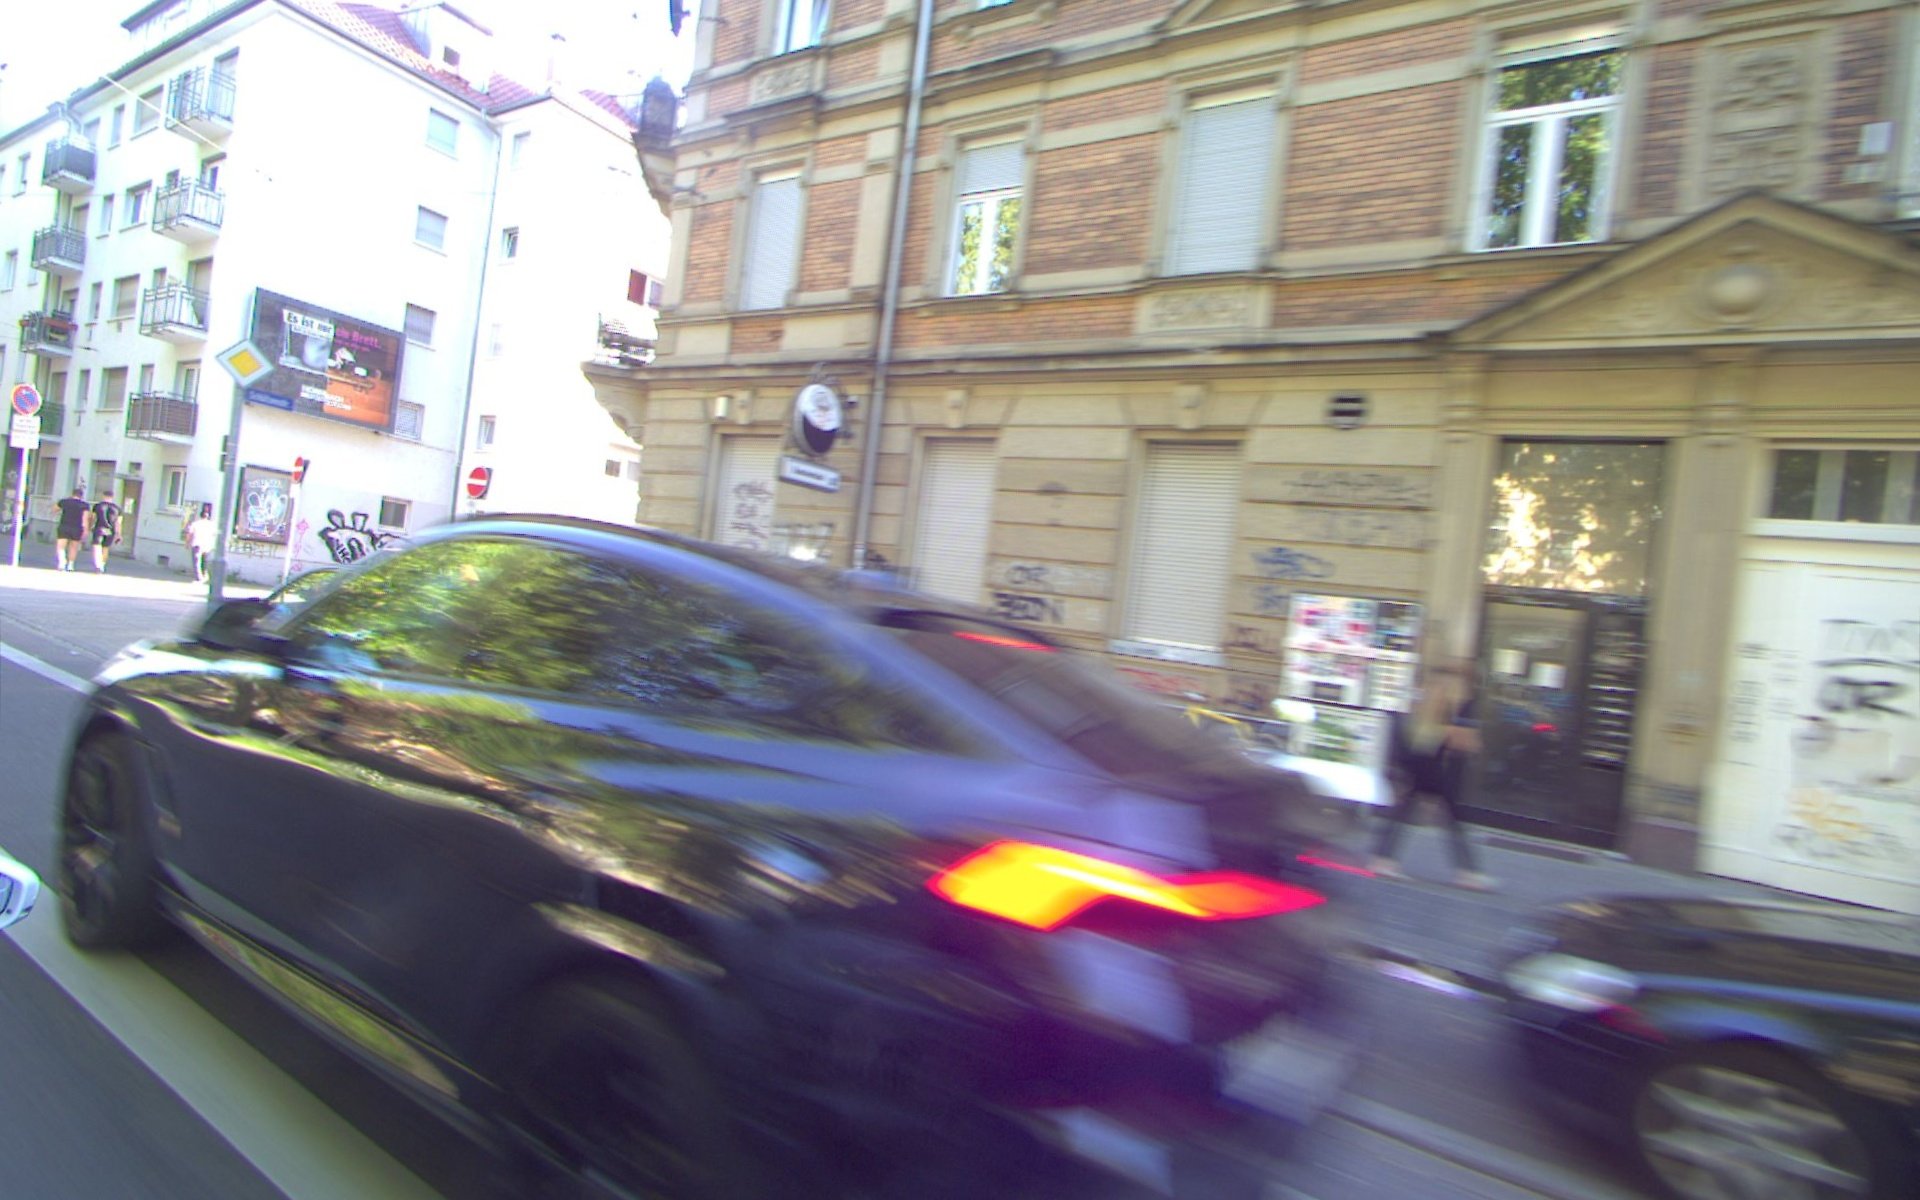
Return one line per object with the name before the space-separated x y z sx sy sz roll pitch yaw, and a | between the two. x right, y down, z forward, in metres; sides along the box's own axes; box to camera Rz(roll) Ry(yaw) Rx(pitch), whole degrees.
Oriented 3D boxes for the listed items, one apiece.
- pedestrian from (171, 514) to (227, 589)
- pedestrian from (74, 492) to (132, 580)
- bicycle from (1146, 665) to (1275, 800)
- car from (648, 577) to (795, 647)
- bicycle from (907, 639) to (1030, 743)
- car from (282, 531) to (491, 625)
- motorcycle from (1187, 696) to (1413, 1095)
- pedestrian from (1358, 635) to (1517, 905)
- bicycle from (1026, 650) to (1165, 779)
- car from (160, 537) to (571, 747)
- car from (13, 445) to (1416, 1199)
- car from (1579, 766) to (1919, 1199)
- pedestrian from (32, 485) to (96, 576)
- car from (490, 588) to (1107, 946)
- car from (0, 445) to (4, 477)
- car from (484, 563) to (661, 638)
pedestrian | -17.757 -1.135 23.470 0.918 1.598 0.632 6 -2 36
pedestrian | -18.977 -1.420 22.277 1.065 1.845 0.625 6 1 36
bicycle | 2.520 1.317 10.182 1.121 1.168 0.273 7 0 36
car | -7.350 0.431 31.346 1.762 1.655 4.251 7 -2 34
bicycle | 0.087 1.043 11.735 1.351 1.013 0.378 7 0 36
car | -13.020 -0.458 23.004 1.764 1.592 3.649 6 -2 39
motorcycle | 1.501 1.194 4.812 0.631 1.304 2.143 7 -1 12
pedestrian | 3.352 1.146 7.047 0.754 1.676 0.715 7 0 33
bicycle | 1.446 1.211 10.862 1.351 1.168 0.378 7 0 36
car | -5.832 0.319 9.754 3.992 1.439 1.650 6 1 31
car | -1.187 0.556 3.402 4.557 1.724 1.946 7 -1 35
car | 4.045 1.524 2.947 3.664 1.289 1.649 6 1 33
pedestrian | -19.360 -1.501 21.728 1.065 1.845 0.709 6 1 36
car | -1.219 0.858 6.711 3.949 1.439 1.602 6 1 34
car | -22.711 -2.280 21.271 5.990 2.525 2.152 6 -1 33
car | -10.273 0.060 26.921 1.762 1.472 4.029 6 -2 34
